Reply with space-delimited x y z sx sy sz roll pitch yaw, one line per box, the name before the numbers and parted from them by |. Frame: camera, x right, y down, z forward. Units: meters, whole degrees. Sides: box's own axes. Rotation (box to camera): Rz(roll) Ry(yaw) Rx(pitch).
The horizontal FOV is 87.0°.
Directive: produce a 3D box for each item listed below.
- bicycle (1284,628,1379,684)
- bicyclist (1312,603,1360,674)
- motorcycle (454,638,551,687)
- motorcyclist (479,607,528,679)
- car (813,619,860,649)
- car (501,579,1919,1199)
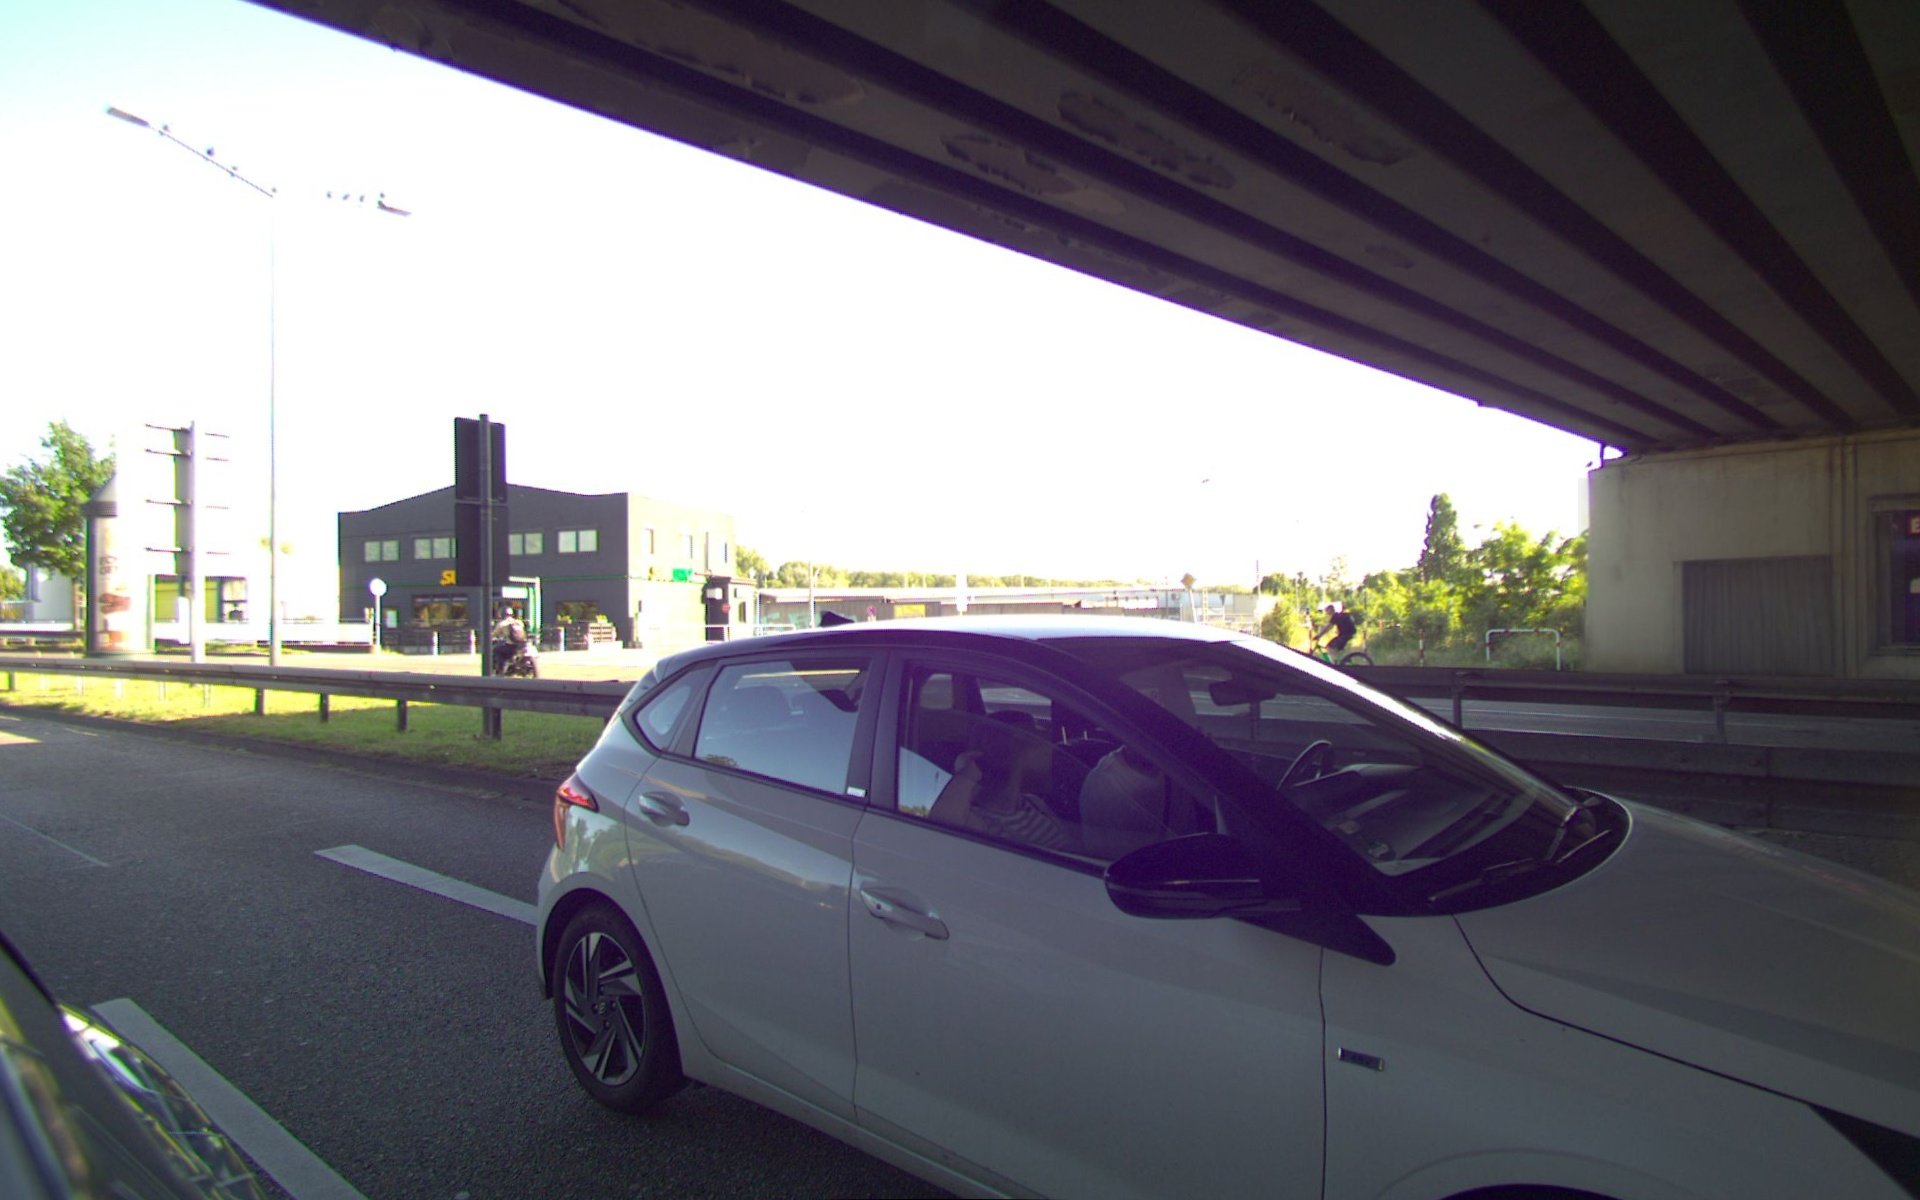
bicycle | 8.320 1.237 22.717 1.877 1.174 0.627 -1 0 41
bicyclist | 8.404 0.841 22.635 0.836 1.536 0.621 -1 0 41
motorcycle | -10.110 1.385 22.367 1.990 1.035 0.691 -2 -1 16
motorcyclist | -10.083 0.947 22.378 0.691 1.539 0.695 -2 -2 15
car | -6.678 1.826 54.983 1.859 1.453 3.996 -1 0 3
car | 0.558 0.692 2.694 3.868 1.414 1.715 -1 1 40
